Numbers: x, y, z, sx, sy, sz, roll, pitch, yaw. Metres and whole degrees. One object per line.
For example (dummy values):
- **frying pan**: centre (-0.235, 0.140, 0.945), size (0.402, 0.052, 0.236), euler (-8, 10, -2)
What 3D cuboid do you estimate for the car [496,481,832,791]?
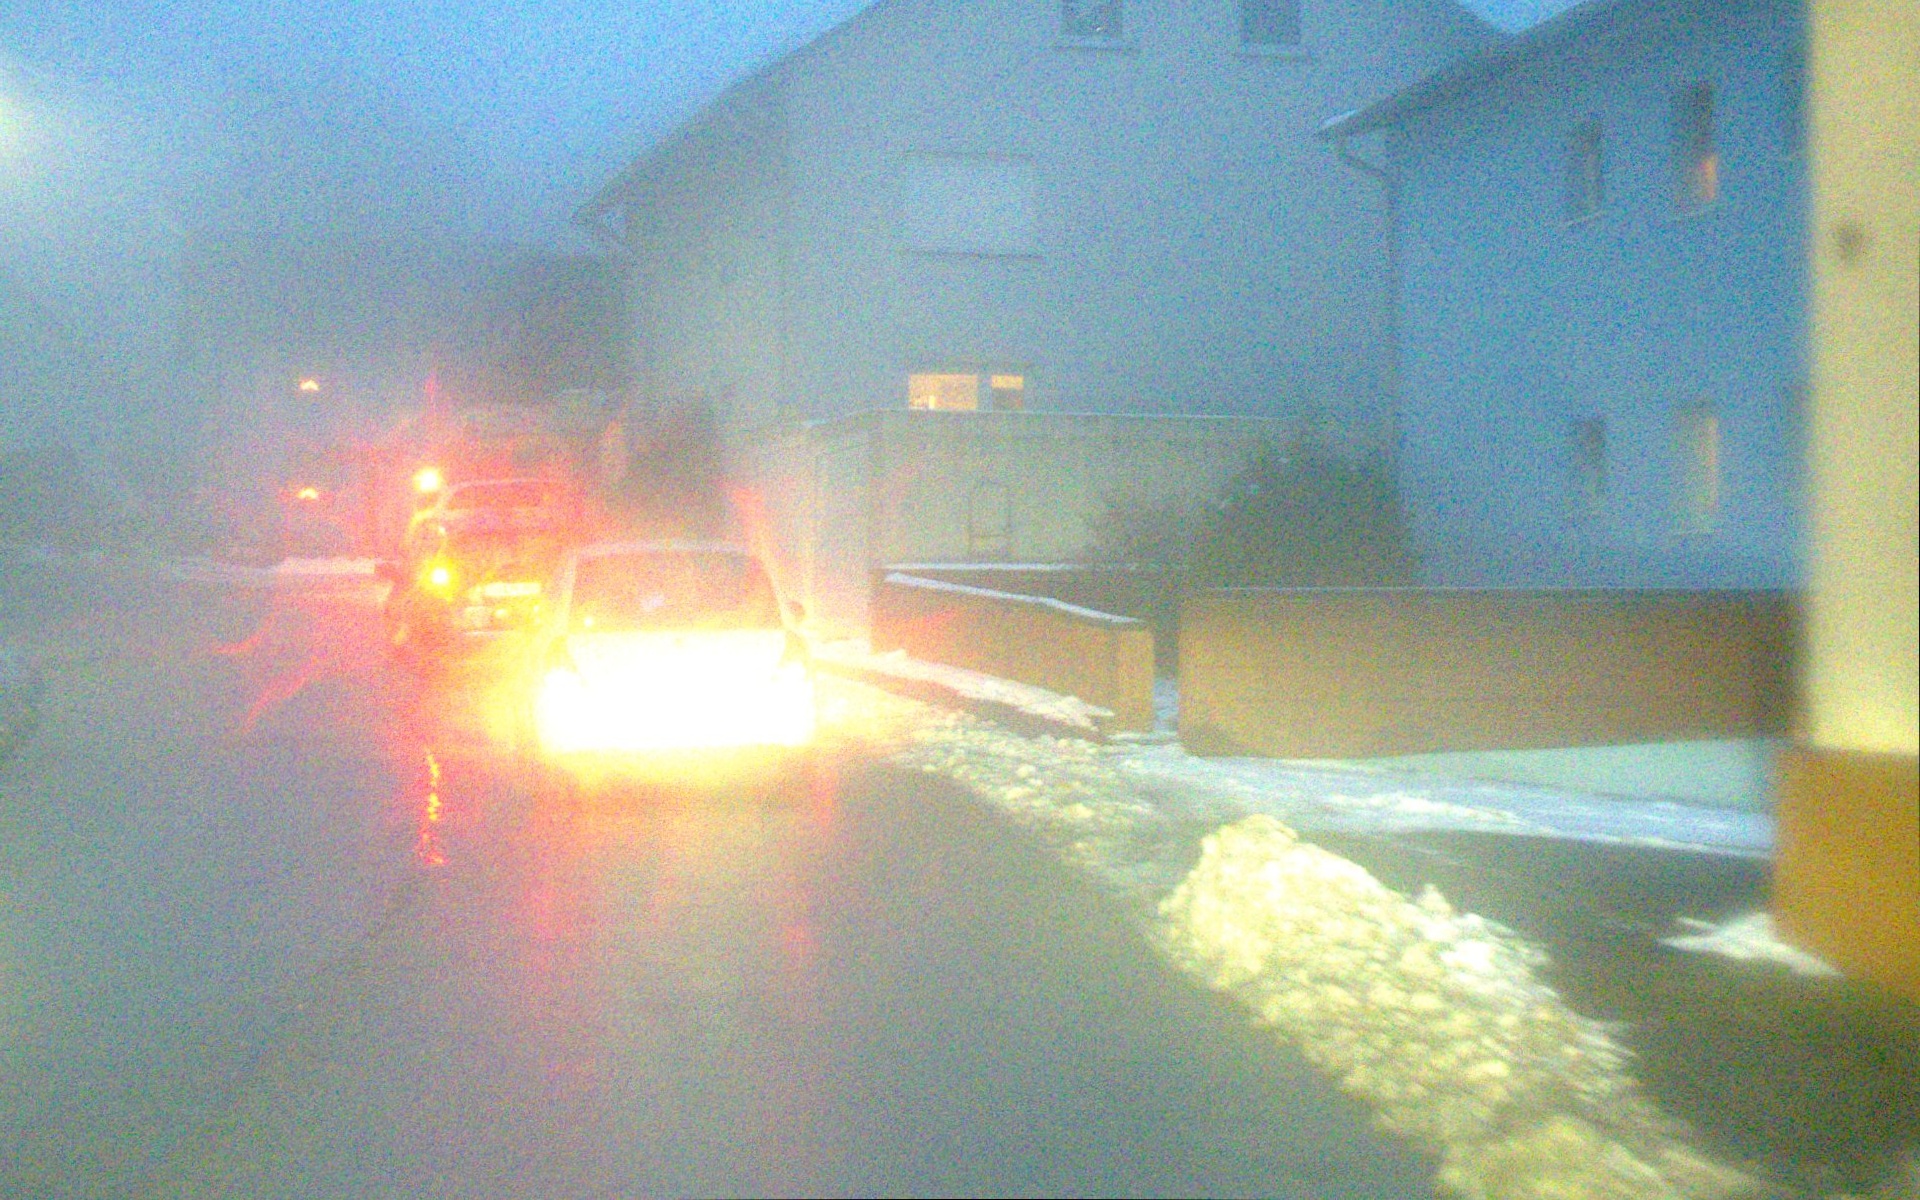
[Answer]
- **car**: centre (-1.817, 0.206, 20.147), size (1.645, 1.590, 3.700), euler (2, -1, -9)

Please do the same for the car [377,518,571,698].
- **car**: centre (-4.770, 0.088, 33.402), size (1.645, 1.590, 3.700), euler (2, -1, -11)
